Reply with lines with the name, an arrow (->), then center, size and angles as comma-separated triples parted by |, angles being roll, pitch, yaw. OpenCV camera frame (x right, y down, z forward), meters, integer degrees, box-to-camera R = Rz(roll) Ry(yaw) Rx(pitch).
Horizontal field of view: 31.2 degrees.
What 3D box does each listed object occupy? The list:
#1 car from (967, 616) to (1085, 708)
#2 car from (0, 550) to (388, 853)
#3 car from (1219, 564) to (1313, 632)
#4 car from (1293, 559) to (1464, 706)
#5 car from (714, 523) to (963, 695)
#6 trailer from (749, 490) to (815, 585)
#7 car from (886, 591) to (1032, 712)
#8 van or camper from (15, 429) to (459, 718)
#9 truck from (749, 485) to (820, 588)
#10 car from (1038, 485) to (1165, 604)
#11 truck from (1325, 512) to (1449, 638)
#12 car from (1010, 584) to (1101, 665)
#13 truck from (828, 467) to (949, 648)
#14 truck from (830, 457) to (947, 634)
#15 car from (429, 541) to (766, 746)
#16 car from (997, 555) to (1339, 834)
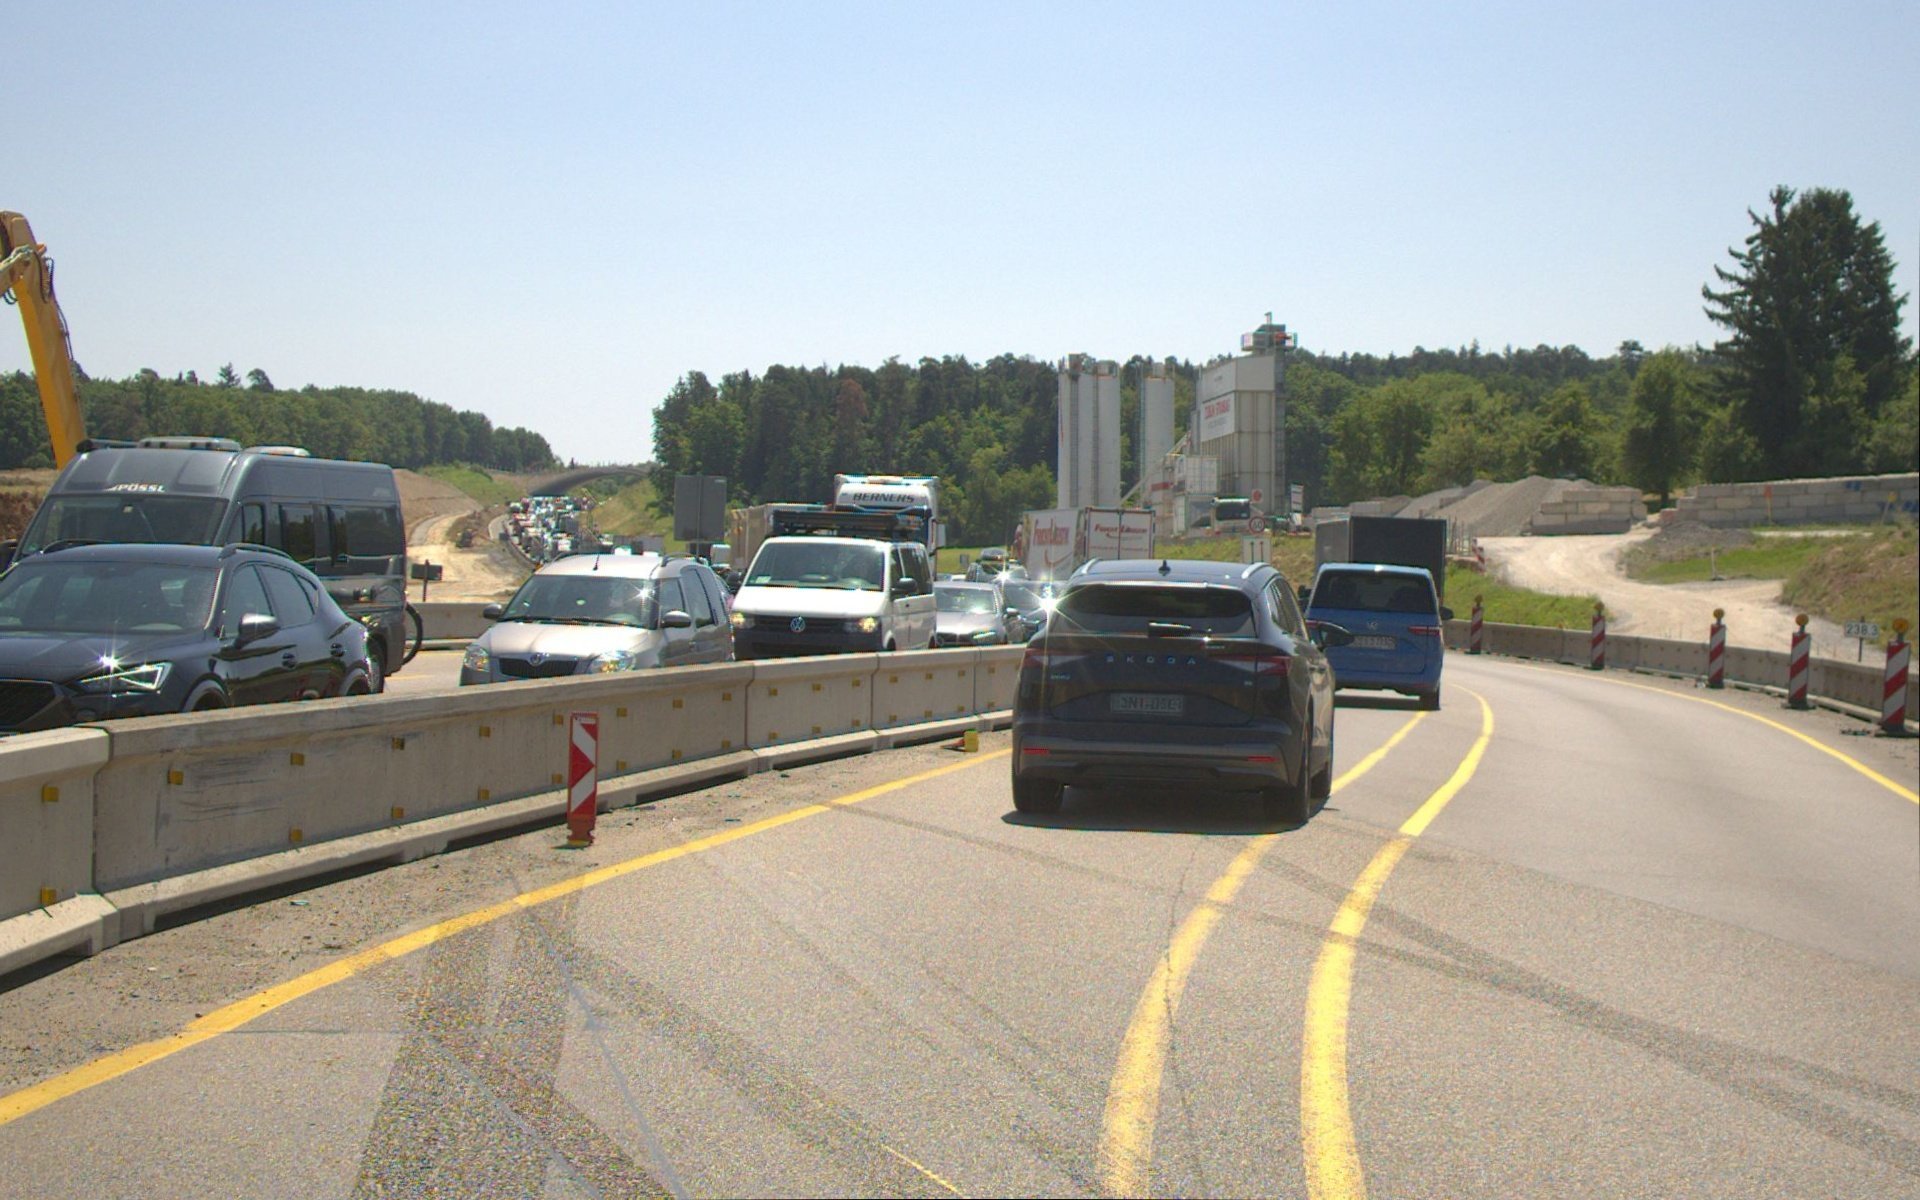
car -> 1.157, 1.035, 58.937 | 1.726, 1.403, 4.129 | 2, 1, 5
car -> -4.579, 0.471, 19.152 | 1.690, 1.476, 4.470 | -1, 1, 5
car -> 7.052, -0.077, 79.636 | 2.045, 1.521, 5.065 | 0, 1, 4
car -> 5.713, 0.392, 46.553 | 1.994, 1.837, 3.998 | 2, 1, 11
car -> -1.377, 0.089, 41.325 | 1.873, 1.866, 5.056 | 2, 1, 10
trailer -> -8.050, -2.808, 154.546 | 2.736, 4.123, 8.187 | 1, 1, -4
car -> 0.030, 0.725, 50.443 | 1.510, 1.598, 3.952 | 4, 1, 8
van or camper -> -6.831, -0.264, 33.399 | 2.099, 2.532, 6.303 | 0, 1, 9
truck -> -7.447, -2.675, 145.073 | 2.772, 4.123, 10.872 | 1, 1, -3
car -> 5.244, -2.096, 129.296 | 3.436, 4.087, 9.199 | 4, 1, -5
truck -> 10.278, -0.625, 83.255 | 2.673, 2.935, 5.620 | 0, 1, 4
car -> 1.895, 0.451, 67.062 | 1.656, 1.448, 4.248 | 2, 1, 2
truck -> -1.766, -1.051, 84.820 | 2.771, 4.245, 6.199 | 1, 1, -1
truck -> -1.875, -1.423, 90.016 | 2.773, 4.263, 11.781 | 1, 1, -1
car -> -3.111, 0.331, 30.390 | 1.758, 1.610, 4.226 | 2, 1, 11
car -> 1.439, 0.537, 22.221 | 1.843, 1.576, 3.999 | 2, 1, 8
